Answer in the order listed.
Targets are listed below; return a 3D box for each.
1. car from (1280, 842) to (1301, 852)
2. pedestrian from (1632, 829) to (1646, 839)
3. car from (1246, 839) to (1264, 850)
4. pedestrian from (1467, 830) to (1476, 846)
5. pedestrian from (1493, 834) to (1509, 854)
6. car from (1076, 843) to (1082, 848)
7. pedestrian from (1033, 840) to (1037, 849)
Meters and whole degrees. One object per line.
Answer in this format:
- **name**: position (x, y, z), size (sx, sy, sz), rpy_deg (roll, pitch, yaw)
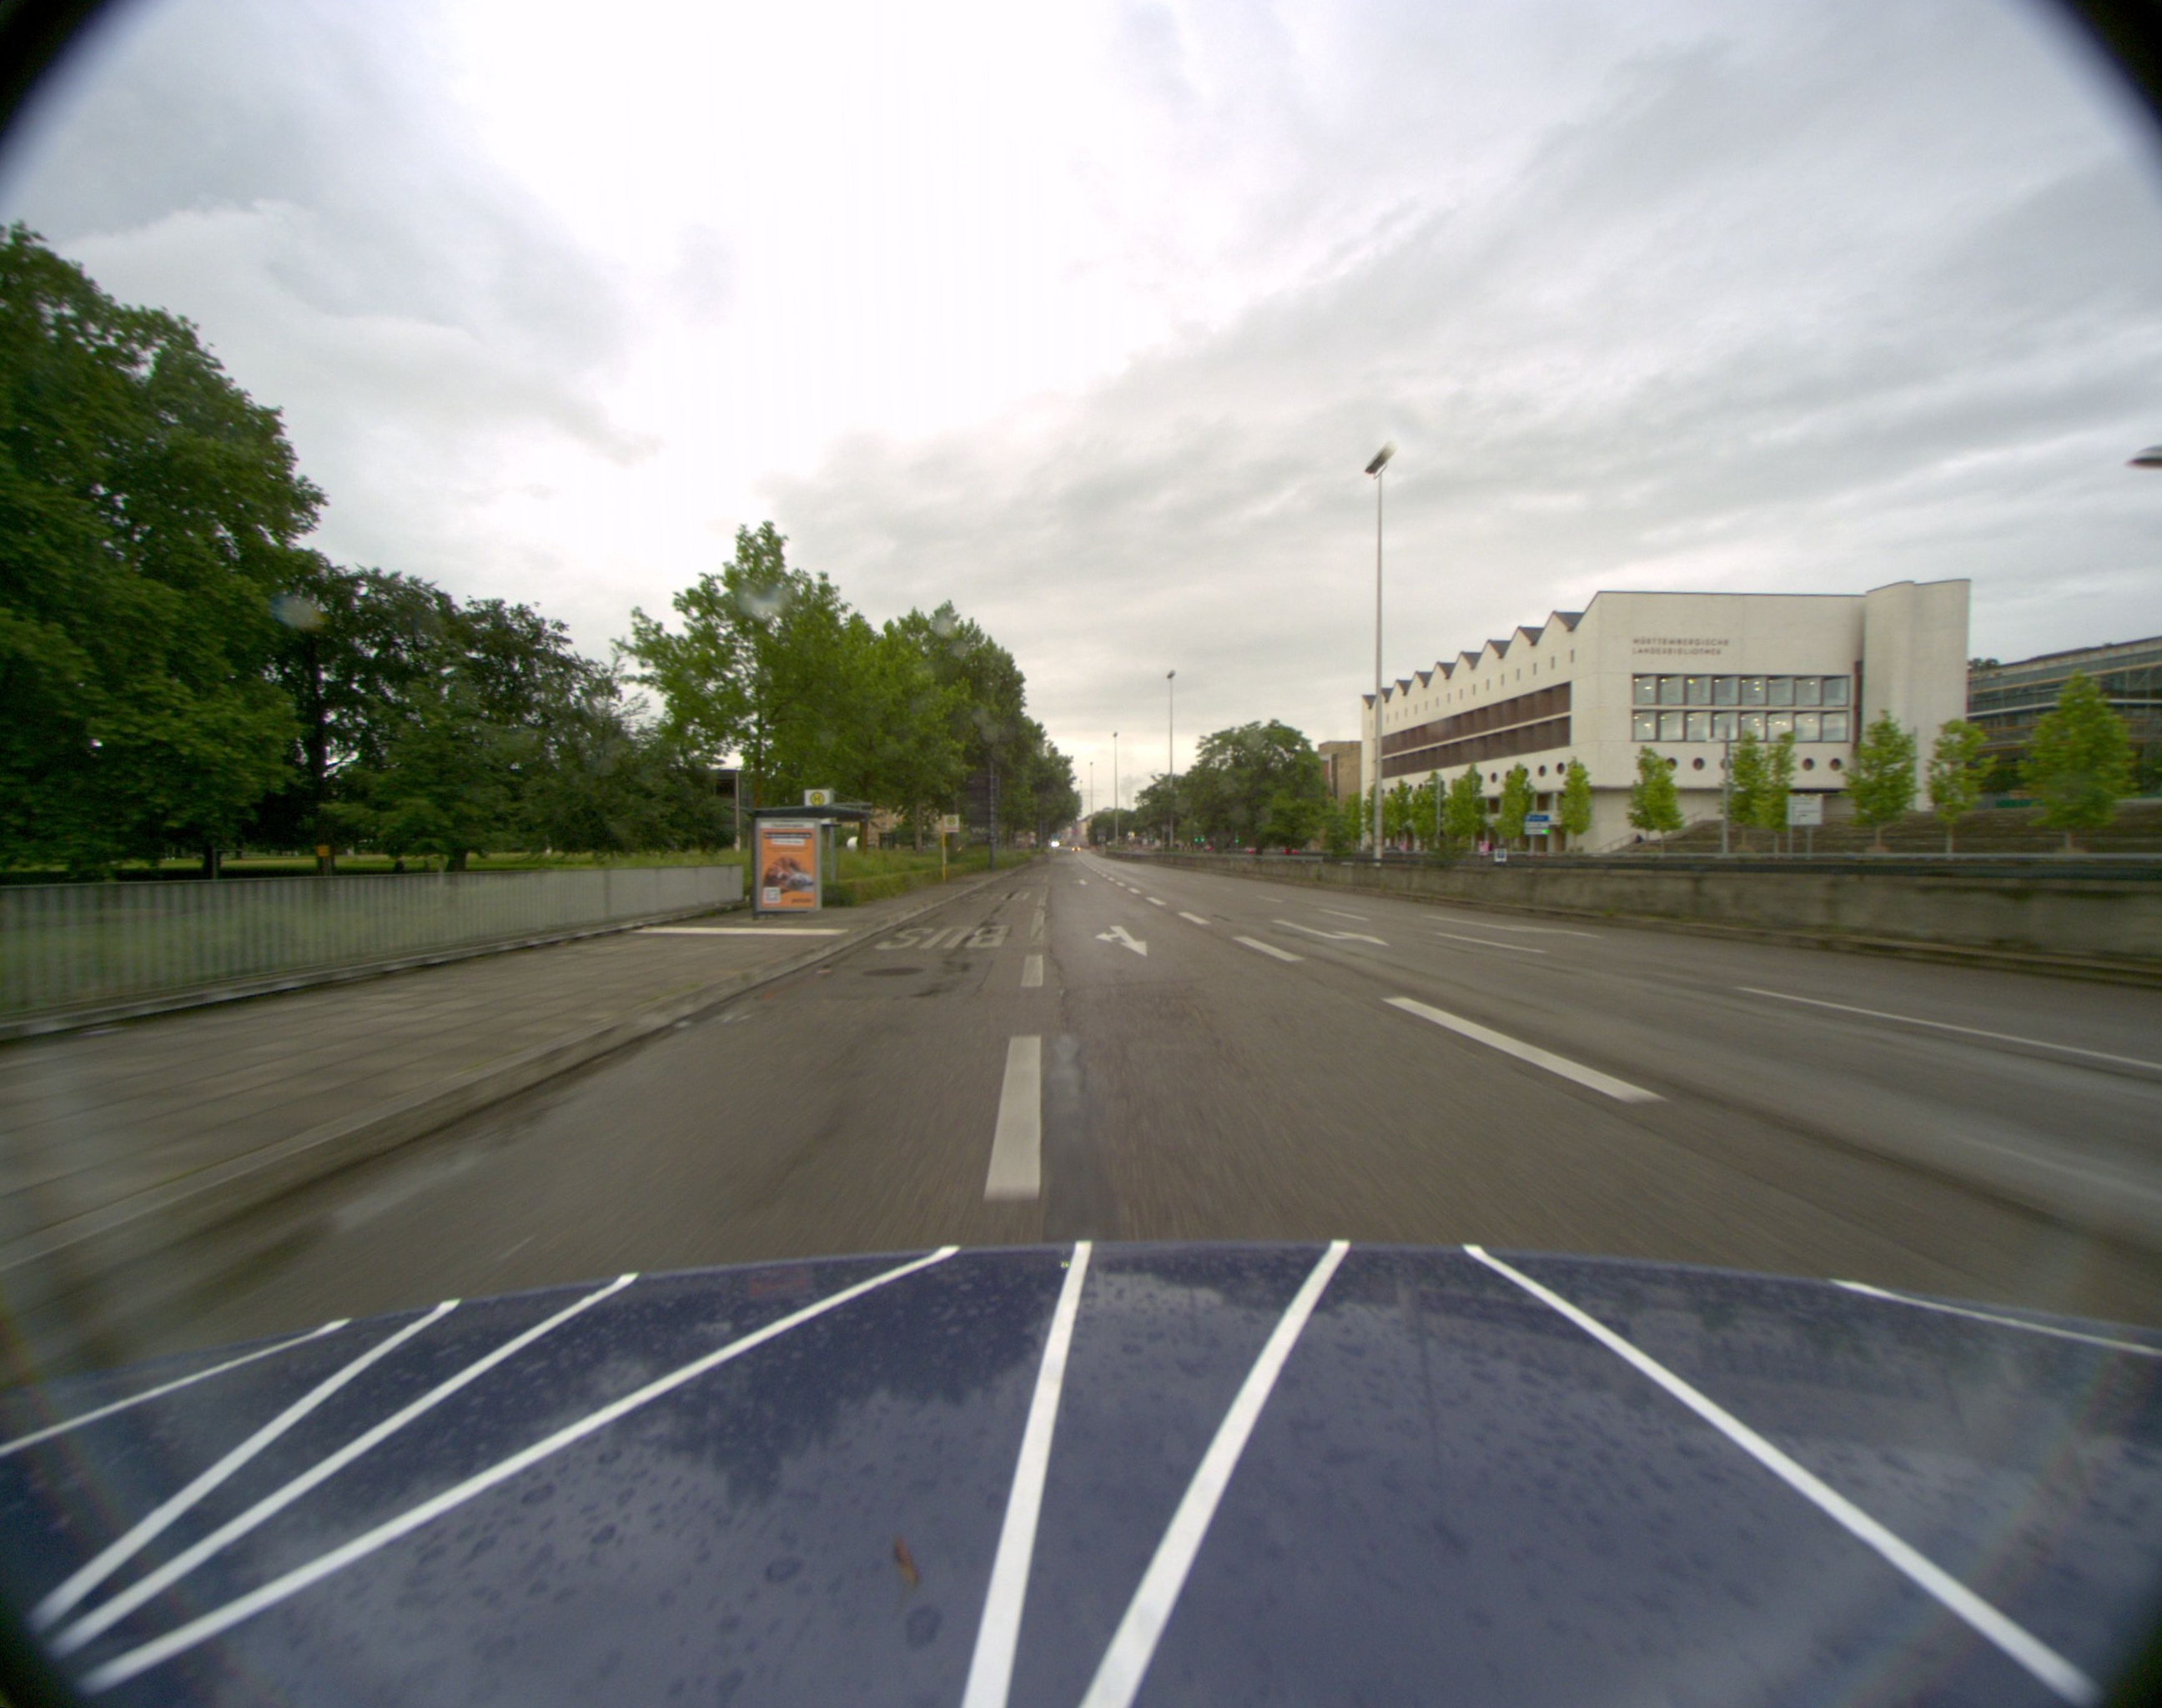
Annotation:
- **car**: position (27.317, -0.935, 99.183), size (1.569, 1.220, 3.540), rpy_deg (-2, 2, -1)
- **pedestrian**: position (51.044, -1.871, 69.519), size (0.809, 0.882, 0.628), rpy_deg (-2, 2, -1)
- **car**: position (26.638, -1.447, 116.223), size (1.699, 1.547, 3.473), rpy_deg (-2, 2, -6)
- **pedestrian**: position (45.450, -1.829, 88.408), size (0.738, 1.848, 0.703), rpy_deg (0, 3, 40)
- **pedestrian**: position (41.187, -0.974, 74.545), size (1.088, 1.856, 0.829), rpy_deg (-2, 2, 2)
- **car**: position (-0.515, -2.197, 194.588), size (1.518, 1.138, 2.760), rpy_deg (-2, 2, 1)
- **pedestrian**: position (-9.327, -1.953, 153.658), size (0.594, 1.764, 0.587), rpy_deg (-1, 2, 16)
